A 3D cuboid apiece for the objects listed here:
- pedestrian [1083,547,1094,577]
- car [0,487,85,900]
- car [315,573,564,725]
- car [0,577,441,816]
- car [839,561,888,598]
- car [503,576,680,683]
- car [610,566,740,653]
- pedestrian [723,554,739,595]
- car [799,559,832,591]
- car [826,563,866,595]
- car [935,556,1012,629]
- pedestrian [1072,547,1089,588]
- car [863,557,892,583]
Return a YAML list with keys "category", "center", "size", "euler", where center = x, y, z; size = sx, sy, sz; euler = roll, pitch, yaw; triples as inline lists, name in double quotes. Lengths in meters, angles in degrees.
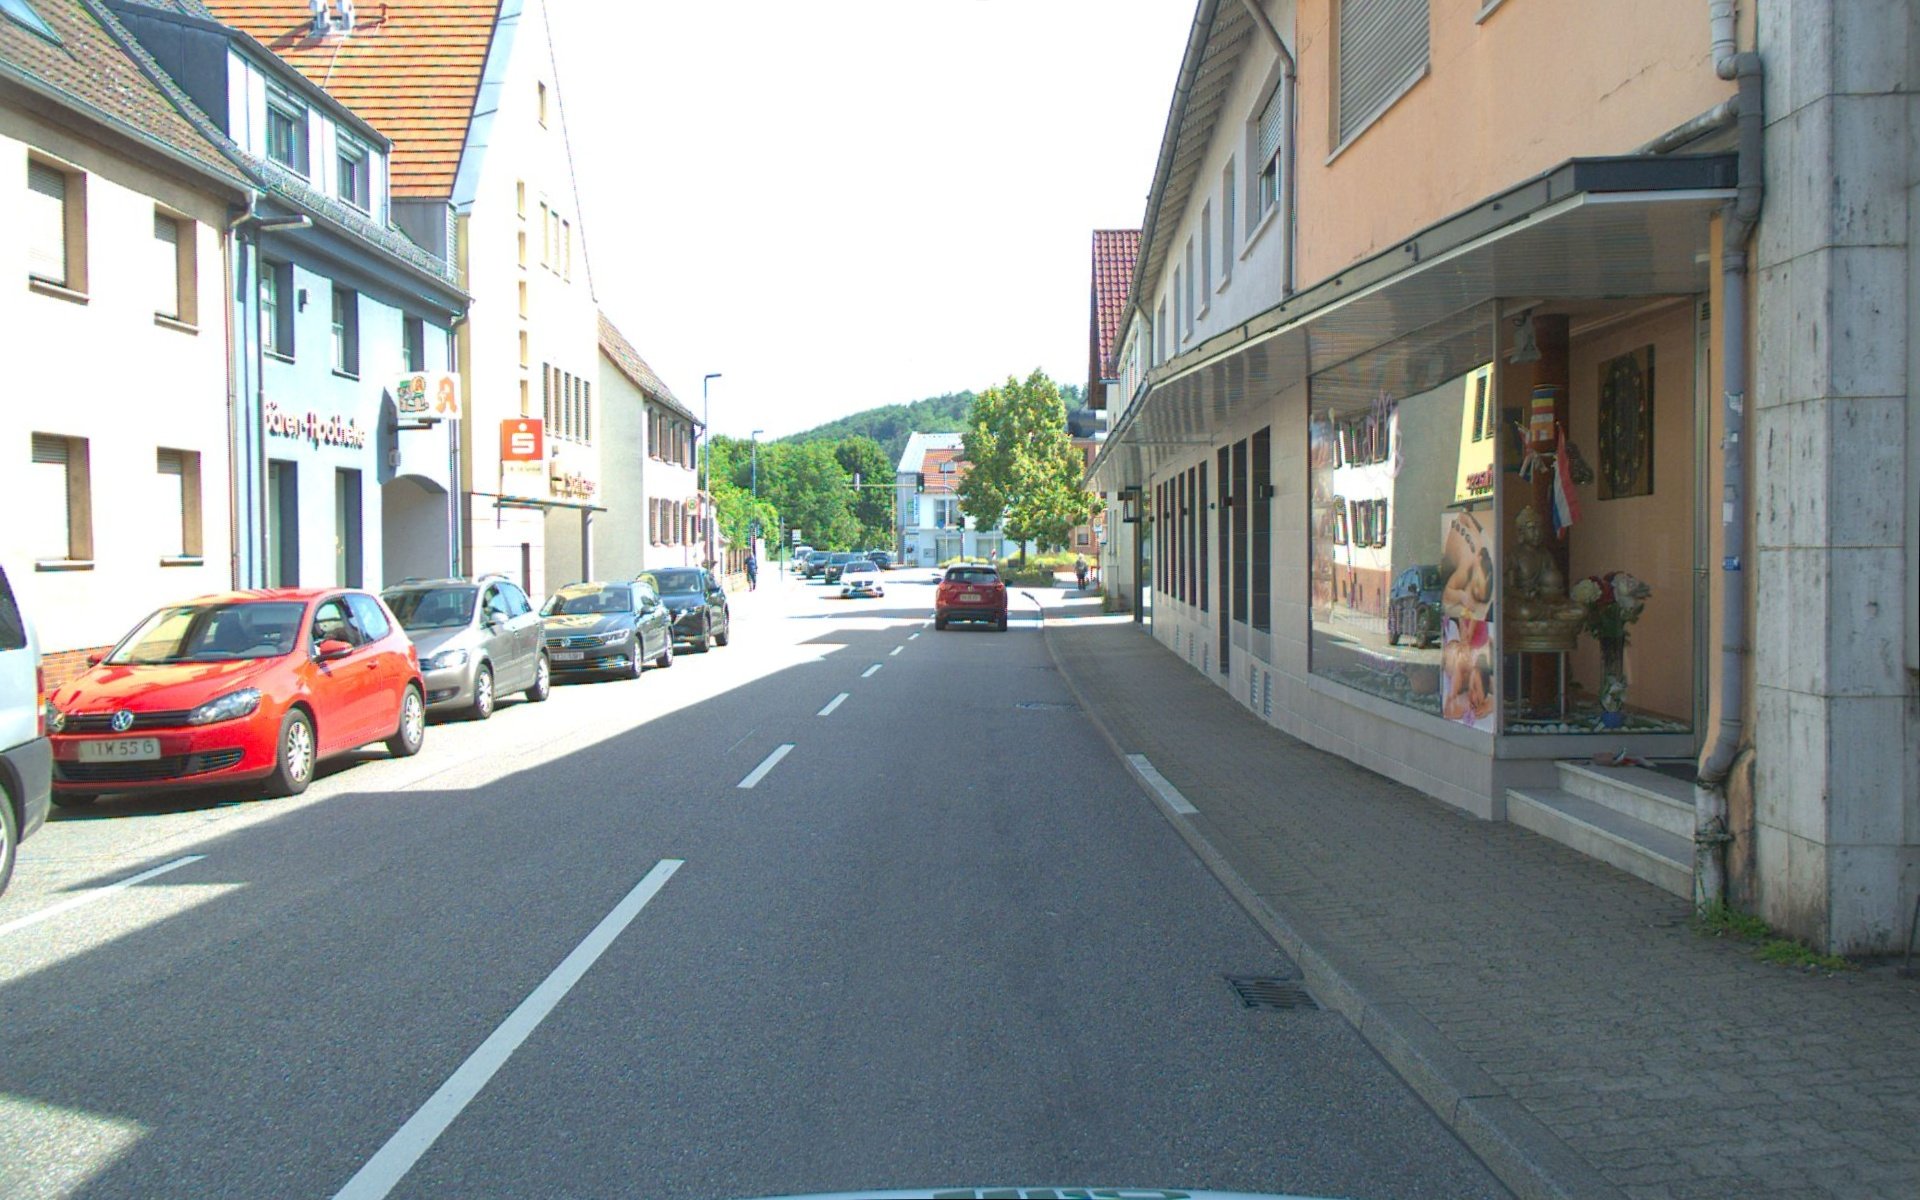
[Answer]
- category: "pedestrian"
  center: [8.179, -2.407, 105.237]
  size: [0.630, 1.912, 0.652]
  euler: [-1, -1, -5]
- category: "car"
  center: [-5.385, 0.492, 6.154]
  size: [1.845, 1.923, 4.551]
  euler: [-2, 1, -1]
- category: "car"
  center: [-5.949, 0.485, 19.392]
  size: [1.596, 1.546, 4.020]
  euler: [-2, 1, 0]
- category: "car"
  center: [-5.540, 0.604, 12.885]
  size: [1.723, 1.518, 4.076]
  euler: [-2, 1, -1]
- category: "car"
  center: [-4.078, -0.863, 69.187]
  size: [1.948, 1.469, 5.096]
  euler: [-1, 1, -5]
- category: "car"
  center: [-5.675, 0.393, 26.017]
  size: [1.752, 1.476, 4.424]
  euler: [-2, 1, 0]
- category: "car"
  center: [-5.723, 0.147, 33.720]
  size: [1.829, 1.617, 4.518]
  euler: [-2, 1, 0]
- category: "pedestrian"
  center: [-10.337, -1.144, 74.699]
  size: [0.652, 1.856, 0.798]
  euler: [-1, -1, -5]
- category: "car"
  center: [-8.921, -1.516, 102.276]
  size: [1.738, 1.816, 3.838]
  euler: [-1, -1, -1]
- category: "car"
  center: [-6.208, -1.189, 90.630]
  size: [1.801, 1.559, 4.254]
  euler: [-1, 3, 1]
- category: "car"
  center: [0.393, -0.217, 42.584]
  size: [1.820, 1.744, 4.424]
  euler: [1, 1, 2]
- category: "pedestrian"
  center: [5.206, -1.415, 71.412]
  size: [0.630, 1.737, 0.699]
  euler: [-1, -1, -5]
- category: "car"
  center: [-6.363, -2.313, 127.983]
  size: [1.892, 1.825, 3.956]
  euler: [-1, -1, 1]
